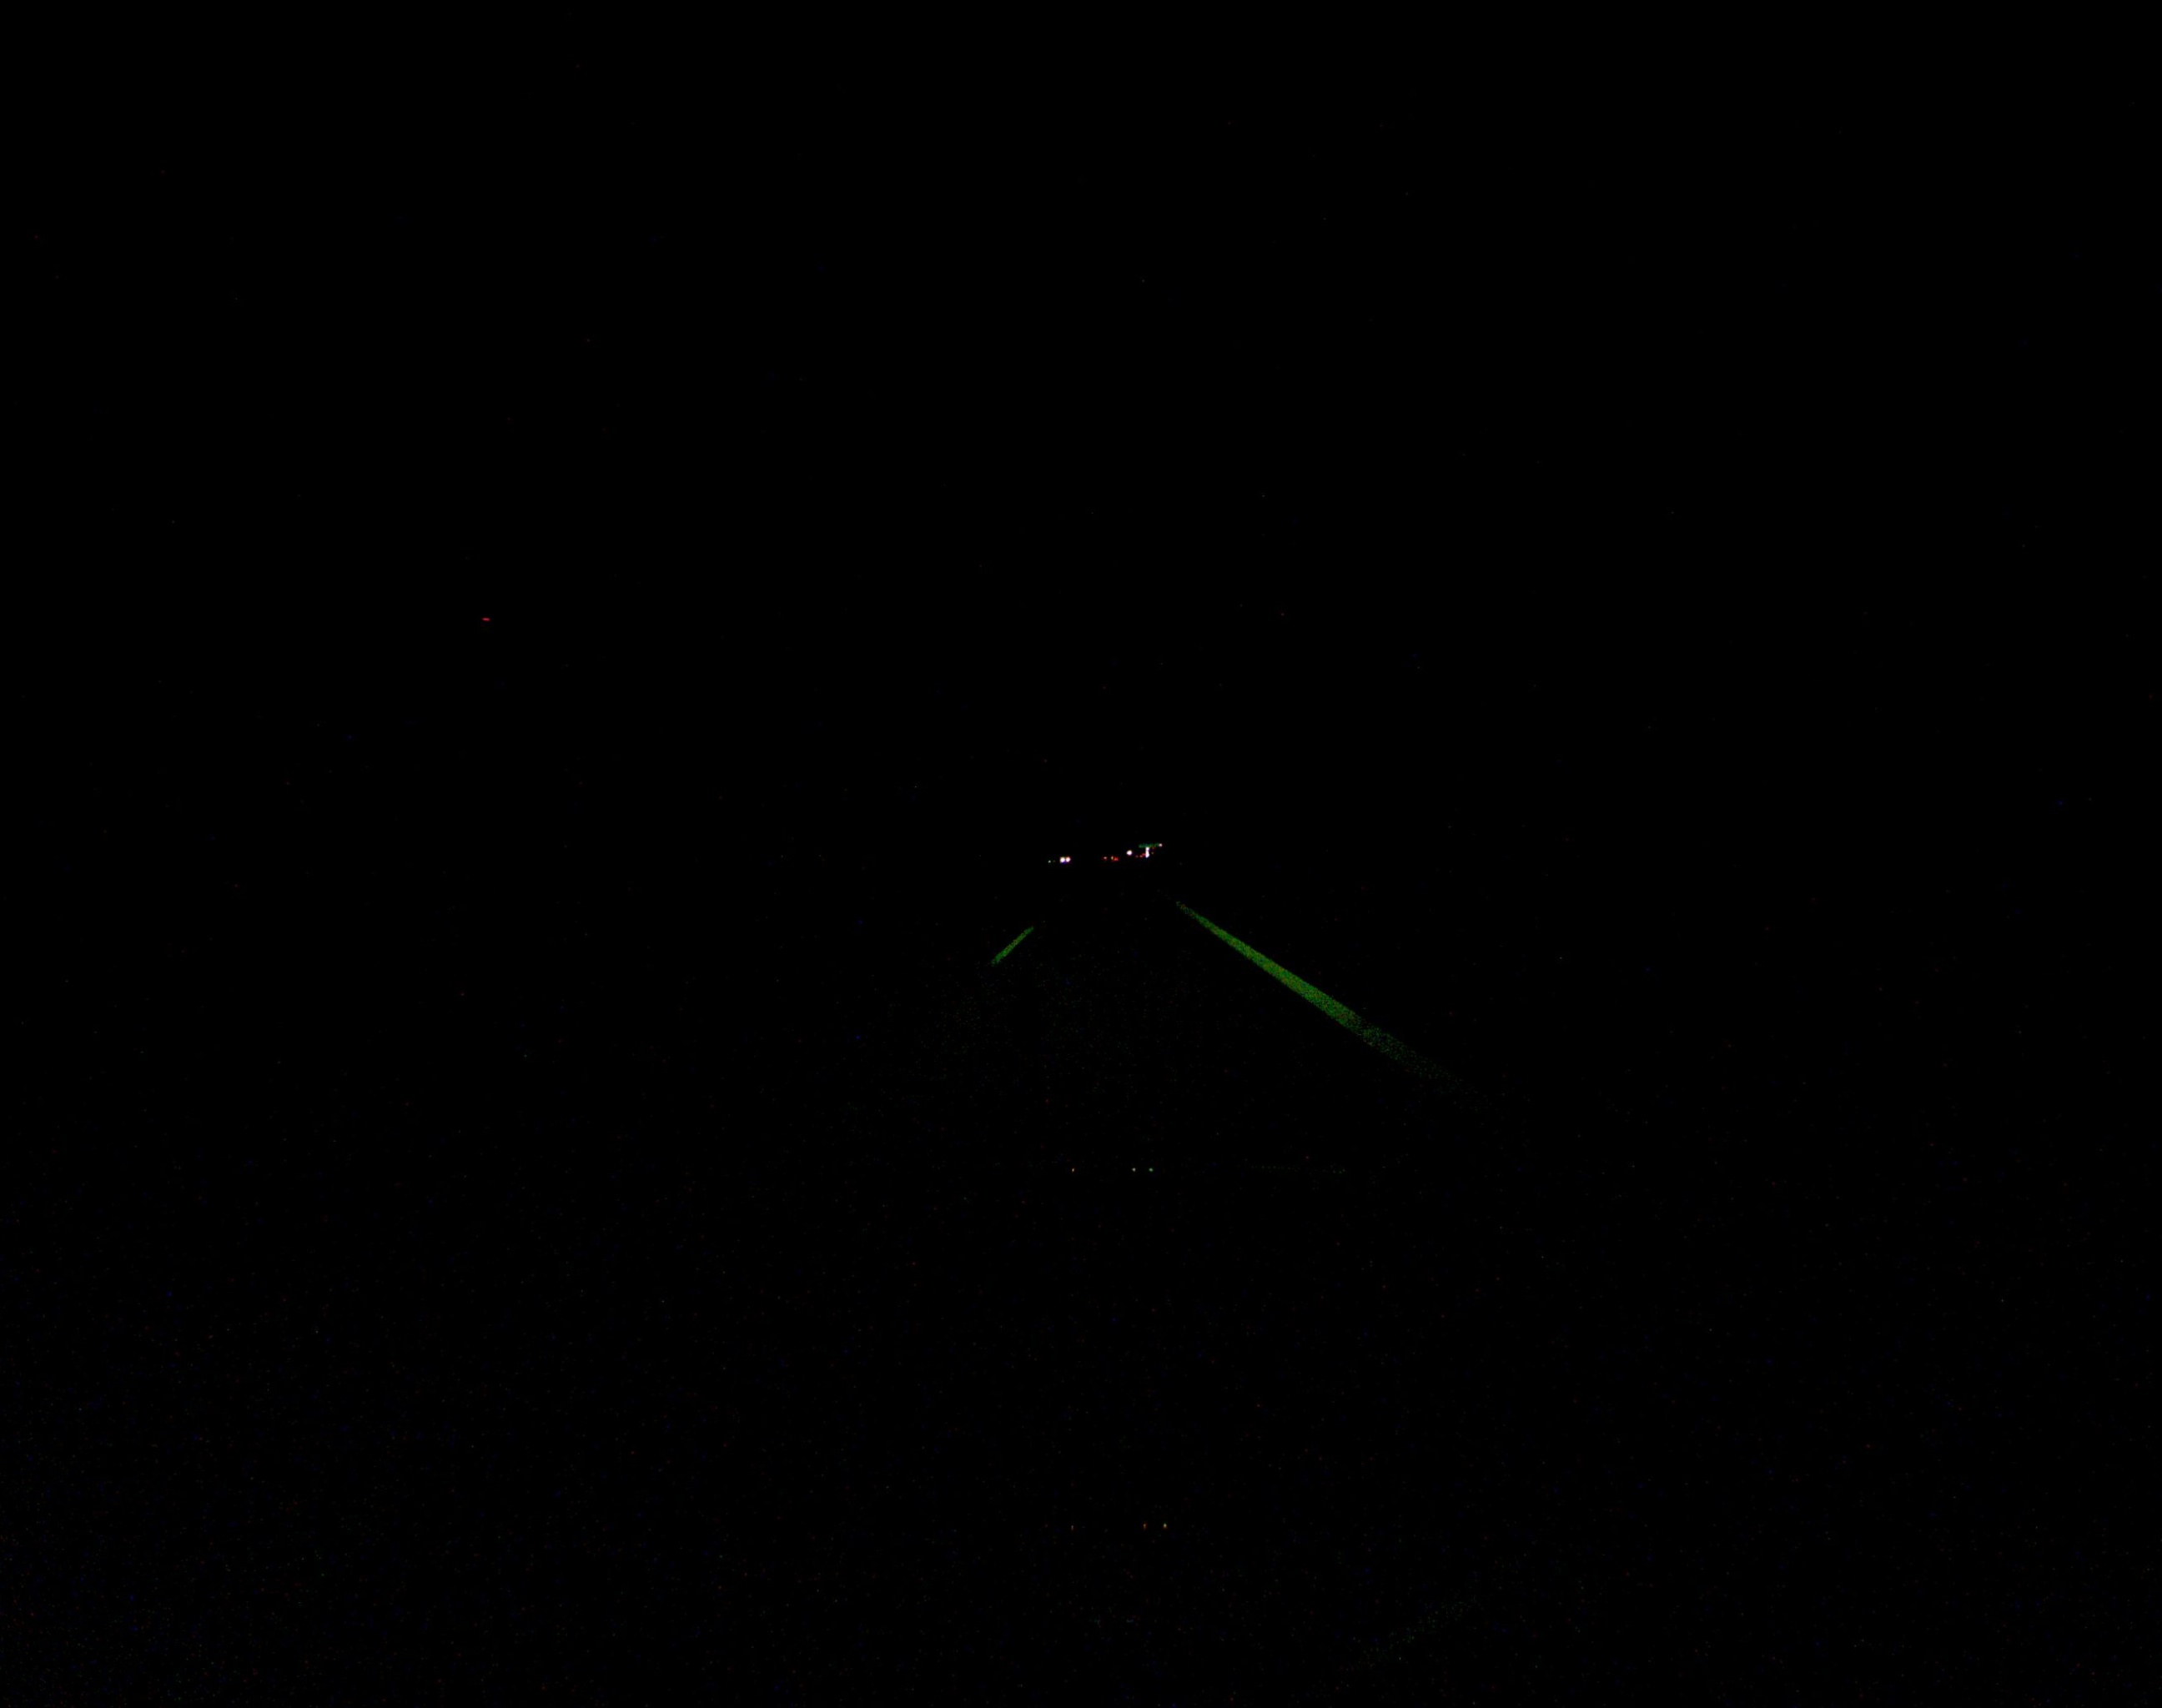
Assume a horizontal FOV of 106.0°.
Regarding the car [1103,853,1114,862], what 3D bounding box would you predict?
[{"bbox_3d":[7.077,0.937,211.329,2.500,2.314,4.976,-1,-1,4],"label":"car"}]
